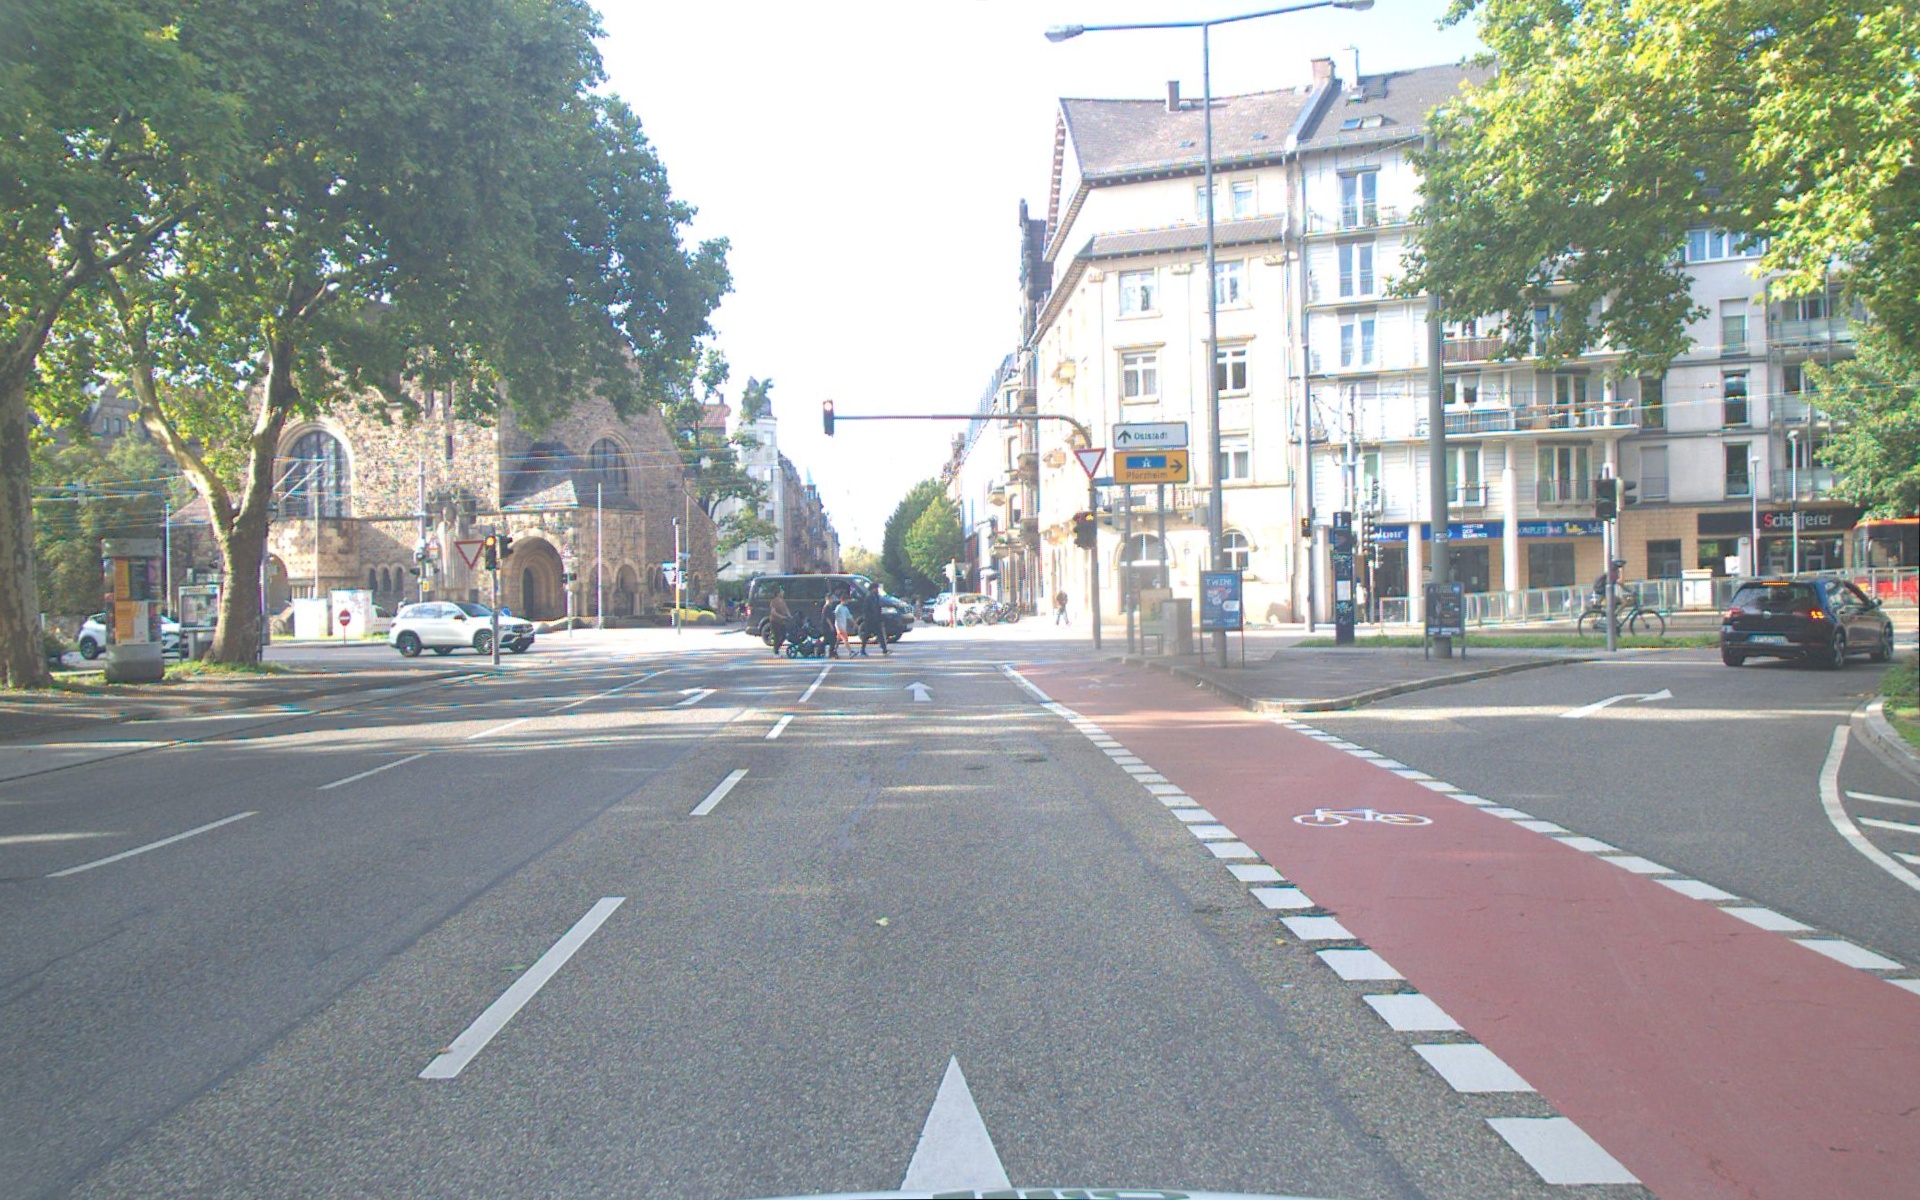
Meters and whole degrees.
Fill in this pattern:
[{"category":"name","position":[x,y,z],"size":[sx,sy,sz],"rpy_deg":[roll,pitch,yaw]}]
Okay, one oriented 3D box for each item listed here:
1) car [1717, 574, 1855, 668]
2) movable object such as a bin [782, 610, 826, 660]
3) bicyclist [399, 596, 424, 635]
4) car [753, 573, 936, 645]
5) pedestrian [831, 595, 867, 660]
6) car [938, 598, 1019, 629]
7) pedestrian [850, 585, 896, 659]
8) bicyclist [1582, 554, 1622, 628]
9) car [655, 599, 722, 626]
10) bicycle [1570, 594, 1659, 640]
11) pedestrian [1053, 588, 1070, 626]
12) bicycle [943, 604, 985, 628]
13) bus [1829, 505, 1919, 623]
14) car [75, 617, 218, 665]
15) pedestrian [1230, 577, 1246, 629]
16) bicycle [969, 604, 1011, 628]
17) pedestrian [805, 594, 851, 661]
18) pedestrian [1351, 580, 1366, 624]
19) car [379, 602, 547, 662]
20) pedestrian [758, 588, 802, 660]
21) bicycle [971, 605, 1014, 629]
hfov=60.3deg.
[{"category":"car","position":[13.759,0.312,27.449],"size":[1.720,1.438,3.991],"rpy_deg":[-1,0,32]},{"category":"movable object such as a bin","position":[-3.603,0.804,38.121],"size":[0.820,1.143,0.575],"rpy_deg":[-1,0,21]},{"category":"bicyclist","position":[-24.040,0.679,72.498],"size":[0.712,1.691,0.716],"rpy_deg":[-1,0,39]},{"category":"car","position":[-3.279,0.265,47.047],"size":[4.741,1.903,2.032],"rpy_deg":[-1,0,17]},{"category":"pedestrian","position":[-2.521,0.623,37.485],"size":[0.641,1.457,0.498],"rpy_deg":[-1,0,21]},{"category":"car","position":[0.908,0.658,83.676],"size":[3.910,1.445,1.998],"rpy_deg":[-2,0,-6]},{"category":"pedestrian","position":[-1.999,0.503,38.136],"size":[0.765,1.691,0.779],"rpy_deg":[-1,0,20]},{"category":"bicyclist","position":[14.246,-0.208,36.687],"size":[0.763,1.607,0.625],"rpy_deg":[-1,0,23]},{"category":"car","position":[-17.572,0.802,107.120],"size":[3.965,1.624,1.841],"rpy_deg":[-2,0,-41]},{"category":"bicycle","position":[14.468,0.368,36.588],"size":[1.793,0.972,0.573],"rpy_deg":[-1,0,24]},{"category":"pedestrian","position":[4.365,0.302,71.158],"size":[0.550,1.652,0.600],"rpy_deg":[-1,0,19]},{"category":"bicycle","position":[0.188,0.780,81.224],"size":[1.987,1.101,0.618],"rpy_deg":[-2,0,-12]},{"category":"bus","position":[33.714,-1.236,50.867],"size":[12.009,3.610,3.029],"rpy_deg":[-1,0,21]},{"category":"car","position":[-27.520,1.381,55.961],"size":[4.158,1.505,1.899],"rpy_deg":[-1,0,17]},{"category":"pedestrian","position":[11.350,0.118,67.533],"size":[0.515,2.130,0.497],"rpy_deg":[1,0,24]},{"category":"bicycle","position":[1.470,0.799,82.019],"size":[1.987,1.101,0.629],"rpy_deg":[-2,0,-12]},{"category":"pedestrian","position":[-2.947,0.604,36.978],"size":[0.765,1.457,0.731],"rpy_deg":[-1,0,20]},{"category":"pedestrian","position":[15.695,0.074,65.128],"size":[0.485,1.744,0.527],"rpy_deg":[1,0,22]},{"category":"car","position":[-15.366,0.991,51.153],"size":[4.607,1.712,2.018],"rpy_deg":[-1,0,17]},{"category":"pedestrian","position":[-4.163,0.551,38.307],"size":[0.798,1.657,0.605],"rpy_deg":[-1,0,22]},{"category":"bicycle","position":[1.604,0.820,81.352],"size":[1.987,1.101,0.618],"rpy_deg":[-2,0,-12]}]
